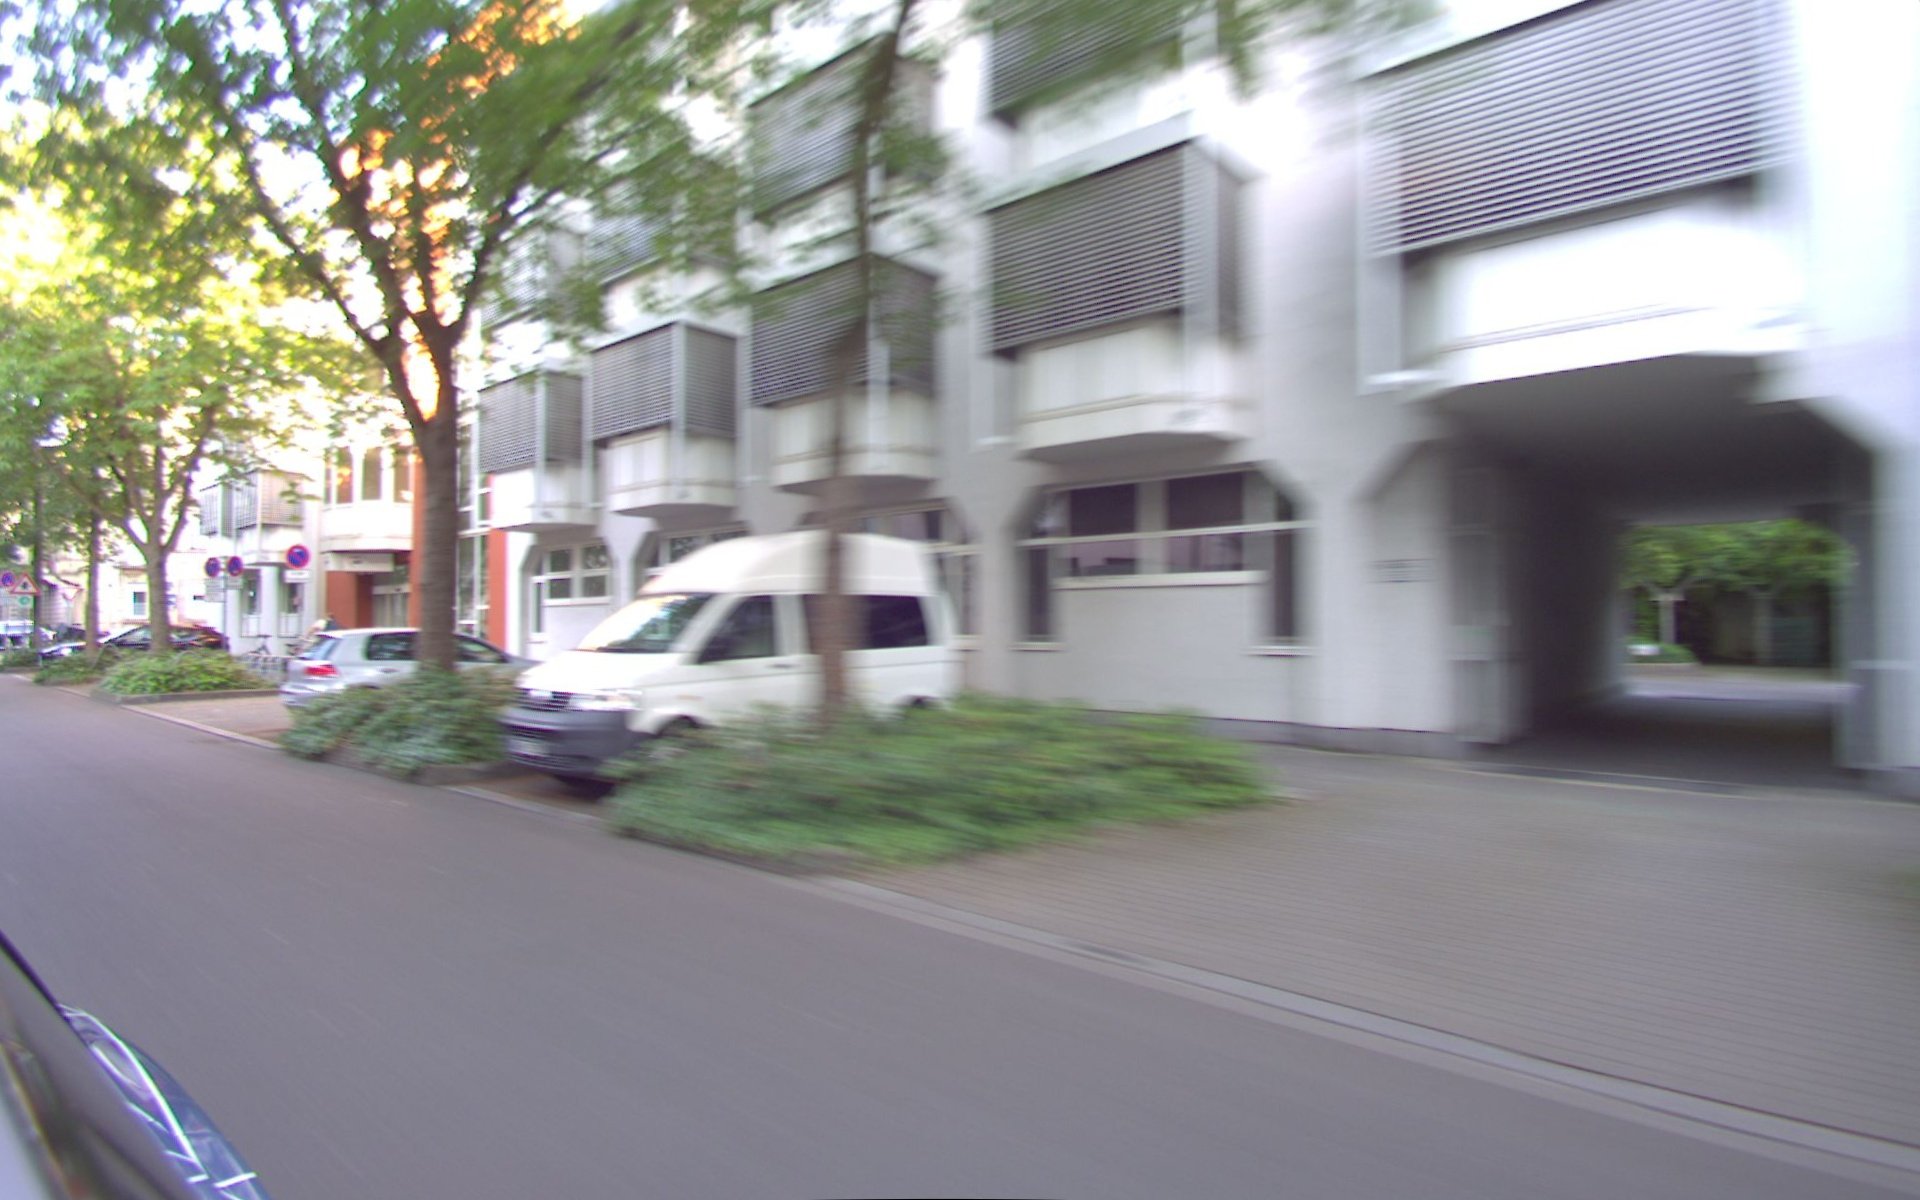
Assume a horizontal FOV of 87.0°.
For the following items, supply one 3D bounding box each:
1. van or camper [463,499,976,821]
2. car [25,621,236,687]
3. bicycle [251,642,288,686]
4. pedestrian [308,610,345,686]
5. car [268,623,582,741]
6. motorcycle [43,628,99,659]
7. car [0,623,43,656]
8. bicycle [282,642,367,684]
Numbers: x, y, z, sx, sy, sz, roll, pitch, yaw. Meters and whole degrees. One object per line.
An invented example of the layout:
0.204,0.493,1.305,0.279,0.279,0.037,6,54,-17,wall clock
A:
-2.106,0.535,10.147,1.944,2.446,4.767,-2,-3,41,van or camper
-23.973,1.520,29.400,1.788,1.772,4.420,-1,-3,37,car
-16.788,1.545,24.627,0.448,0.995,1.761,1,-2,-25,bicycle
-15.052,1.135,24.034,0.628,1.758,0.680,1,-2,-40,pedestrian
-8.133,1.155,15.638,1.622,1.539,4.008,-2,-2,44,car
-35.395,1.711,40.296,0.572,1.151,1.604,-1,0,43,motorcycle
-50.245,2.033,52.467,1.674,1.645,3.808,-2,-4,41,car
-15.288,1.516,24.370,1.729,0.995,0.456,0,-2,-2,bicycle
